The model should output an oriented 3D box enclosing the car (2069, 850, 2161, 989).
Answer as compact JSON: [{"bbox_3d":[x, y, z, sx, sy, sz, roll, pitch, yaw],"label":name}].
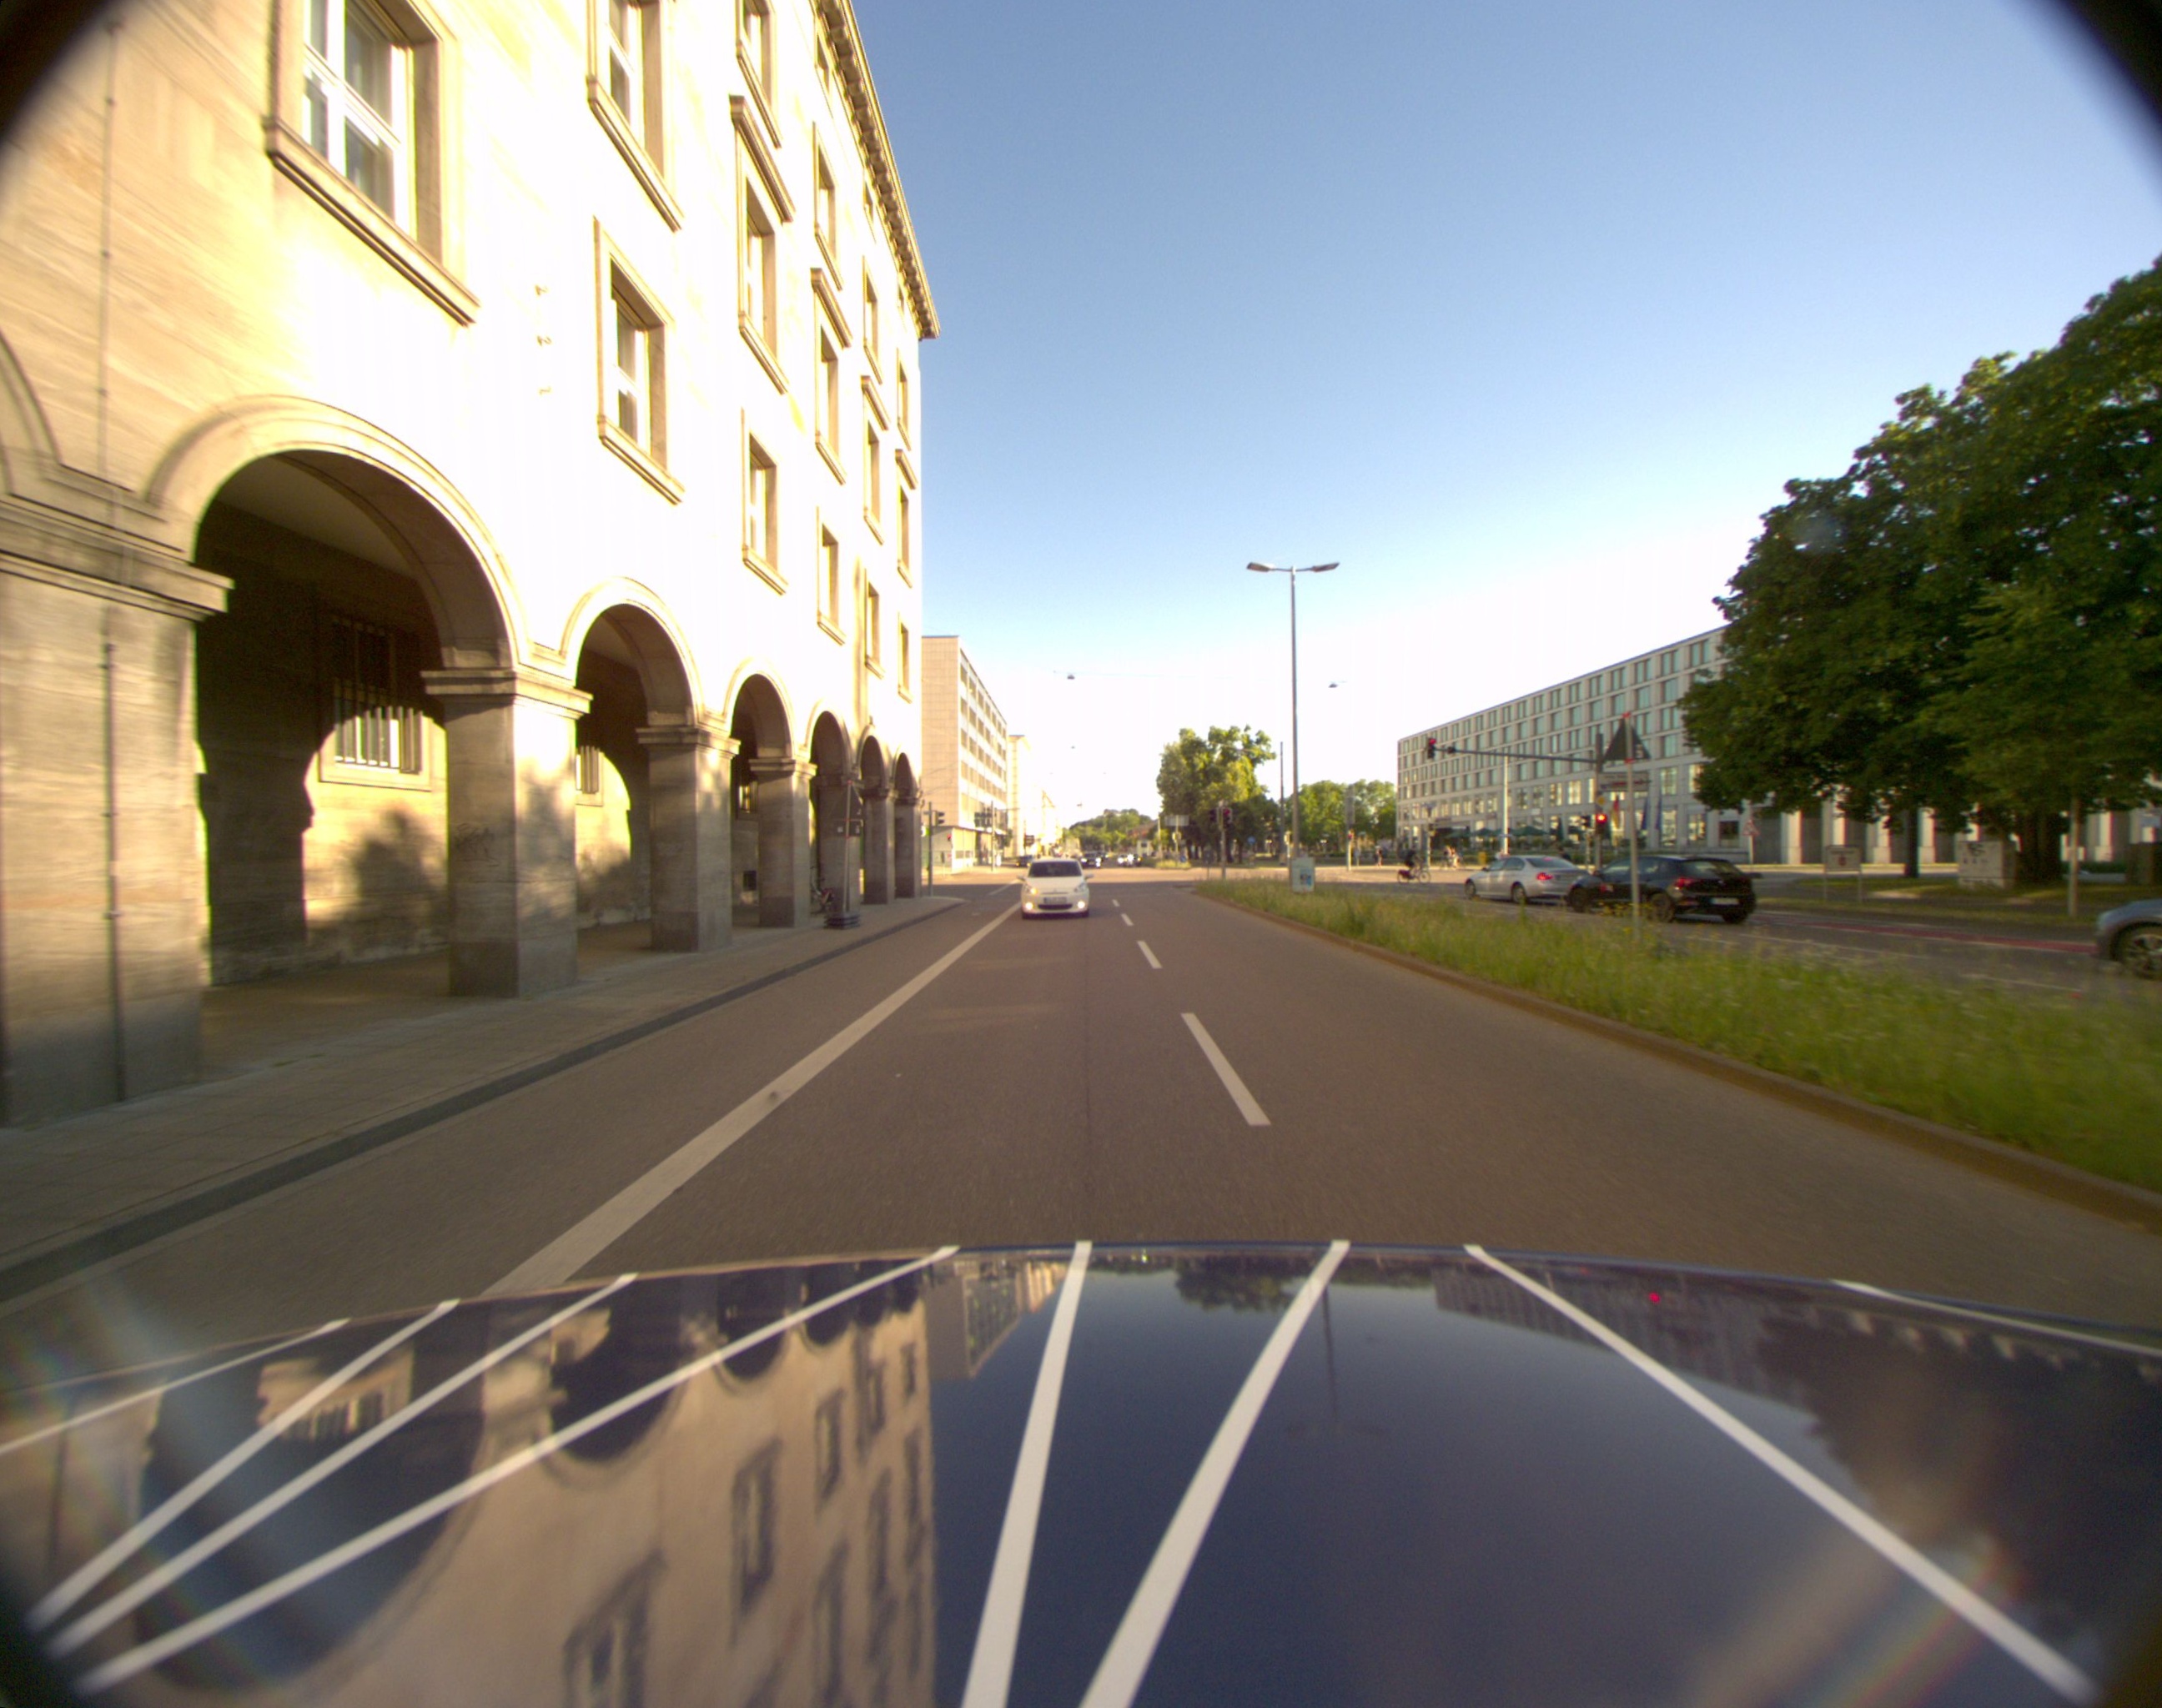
[{"bbox_3d":[13.104,0.746,7.282,1.998,1.555,4.060,0,1,1],"label":"car"}]

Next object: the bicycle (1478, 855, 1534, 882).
[{"bbox_3d":[20.715,0.685,37.065,2.310,1.233,0.778,-1,3,0],"label":"bicycle"}]

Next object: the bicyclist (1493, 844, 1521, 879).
[{"bbox_3d":[20.750,0.355,37.040,0.924,1.681,0.775,-1,3,0],"label":"bicyclist"}]

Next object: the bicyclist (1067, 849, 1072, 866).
[{"bbox_3d":[-1.072,0.334,72.579,0.453,1.567,0.535,0,1,1],"label":"bicyclist"}]

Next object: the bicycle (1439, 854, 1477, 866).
[{"bbox_3d":[27.653,0.456,55.717,2.334,0.846,0.843,0,1,0],"label":"bicycle"}]

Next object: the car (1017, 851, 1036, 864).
[{"bbox_3d":[-6.669,0.398,93.384,1.998,1.564,4.549,0,1,1],"label":"car"}]

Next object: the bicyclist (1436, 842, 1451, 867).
[{"bbox_3d":[24.195,0.031,50.696,0.850,1.610,0.974,0,1,30],"label":"bicyclist"}]

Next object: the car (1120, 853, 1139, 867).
[{"bbox_3d":[5.705,0.661,89.306,1.998,1.564,4.549,0,1,1],"label":"car"}]

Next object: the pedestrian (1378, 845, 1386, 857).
[{"bbox_3d":[41.085,-0.402,103.736,0.784,1.517,0.762,0,1,1],"label":"pedestrian"}]

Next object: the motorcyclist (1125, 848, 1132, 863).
[{"bbox_3d":[4.687,0.106,74.353,0.607,1.438,0.736,0,1,-3],"label":"motorcyclist"}]

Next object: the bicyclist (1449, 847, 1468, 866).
[{"bbox_3d":[27.668,0.199,55.710,0.972,1.354,0.826,0,1,-1],"label":"bicyclist"}]

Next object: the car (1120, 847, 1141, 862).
[{"bbox_3d":[5.178,0.048,80.054,1.998,1.564,4.549,0,1,1],"label":"car"}]

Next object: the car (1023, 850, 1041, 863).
[{"bbox_3d":[-6.427,0.289,99.445,1.998,1.564,4.549,0,1,1],"label":"car"}]

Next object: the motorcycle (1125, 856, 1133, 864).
[{"bbox_3d":[4.683,0.600,74.337,0.623,0.791,1.309,0,1,-1],"label":"motorcycle"}]

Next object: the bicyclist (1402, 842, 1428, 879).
[{"bbox_3d":[15.806,0.315,35.973,0.838,1.734,0.754,0,3,0],"label":"bicyclist"}]

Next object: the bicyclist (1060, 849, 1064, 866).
[{"bbox_3d":[-1.782,0.318,72.436,0.358,1.567,0.535,0,1,1],"label":"bicyclist"}]

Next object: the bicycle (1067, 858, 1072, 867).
[{"bbox_3d":[-1.070,0.801,72.652,0.452,0.869,1.385,0,1,1],"label":"bicycle"}]

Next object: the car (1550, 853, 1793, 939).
[{"bbox_3d":[13.020,0.820,17.226,1.998,1.666,4.549,0,1,1],"label":"car"}]

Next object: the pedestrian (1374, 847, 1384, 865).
[{"bbox_3d":[25.173,0.175,64.193,0.623,1.517,0.603,0,1,-4],"label":"pedestrian"}]

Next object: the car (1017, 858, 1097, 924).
[{"bbox_3d":[-0.522,0.879,19.665,1.678,1.455,3.766,-2,1,3],"label":"car"}]

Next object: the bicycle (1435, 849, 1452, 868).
[{"bbox_3d":[24.221,0.317,50.736,0.844,1.223,2.018,0,1,30],"label":"bicycle"}]

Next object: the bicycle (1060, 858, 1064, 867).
[{"bbox_3d":[-1.779,0.805,72.448,0.351,0.869,1.385,0,1,1],"label":"bicycle"}]

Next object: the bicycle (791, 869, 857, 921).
[{"bbox_3d":[-6.044,0.934,17.813,1.708,1.126,0.665,2,1,41],"label":"bicycle"}]

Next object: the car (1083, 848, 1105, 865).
[{"bbox_3d":[1.256,0.192,73.391,1.998,1.564,4.549,-1,0,1],"label":"car"}]

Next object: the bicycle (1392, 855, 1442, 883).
[{"bbox_3d":[15.924,0.705,36.001,2.019,1.233,0.778,0,3,0],"label":"bicycle"}]

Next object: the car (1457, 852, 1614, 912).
[{"bbox_3d":[13.428,0.744,22.846,1.998,1.551,4.549,2,1,1],"label":"car"}]

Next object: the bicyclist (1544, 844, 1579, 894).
[{"bbox_3d":[16.333,0.492,25.851,0.782,1.669,0.839,1,1,15],"label":"bicyclist"}]
